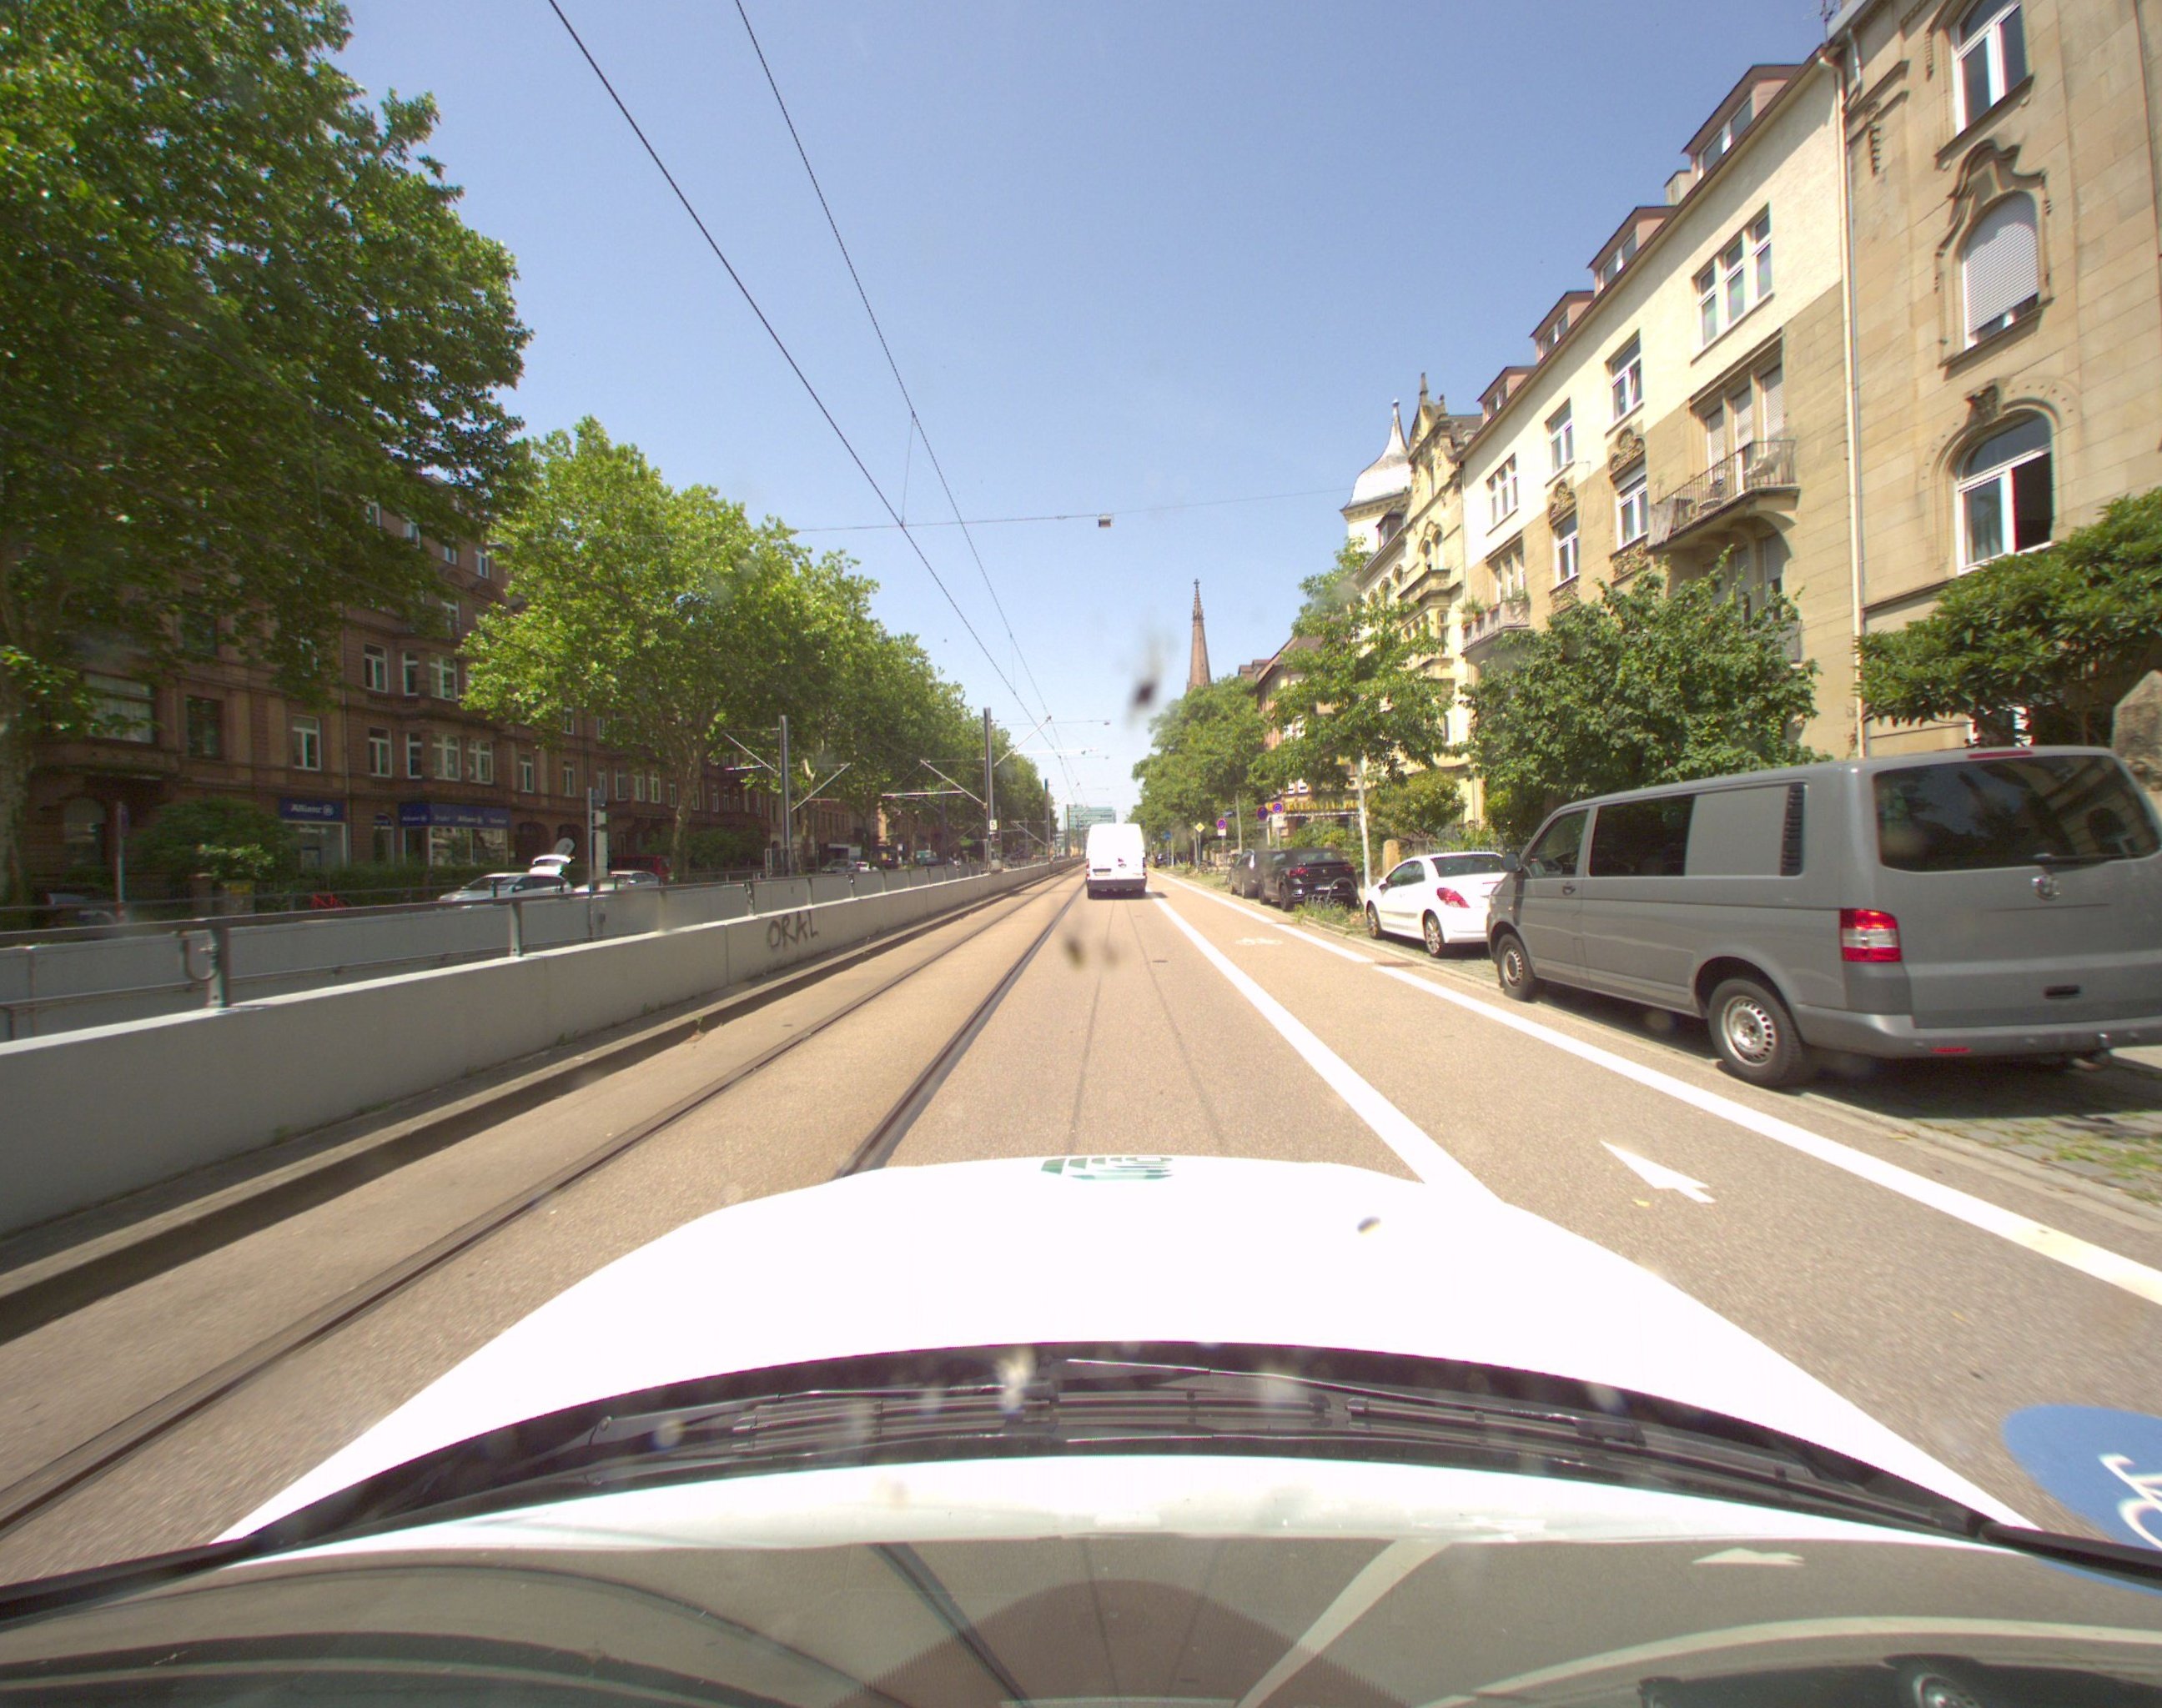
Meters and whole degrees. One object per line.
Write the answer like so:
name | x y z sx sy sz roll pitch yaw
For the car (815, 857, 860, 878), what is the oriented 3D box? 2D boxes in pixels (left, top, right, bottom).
car | -17.419 0.959 58.494 1.845 1.401 4.198 -1 0 1

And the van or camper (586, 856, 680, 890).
van or camper | -26.492 1.107 48.227 4.519 1.836 1.936 -2 0 7

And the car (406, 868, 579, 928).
car | -18.594 1.323 26.084 1.986 1.625 4.719 -1 0 1

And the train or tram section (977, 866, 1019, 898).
train or tram section | -7.343 2.427 72.914 2.720 2.508 8.517 -1 0 1

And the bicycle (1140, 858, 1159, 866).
bicycle | 8.088 0.943 96.429 1.548 0.826 4.016 -1 0 15

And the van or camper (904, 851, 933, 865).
van or camper | -25.022 0.585 125.289 3.975 2.013 1.999 -2 0 -1

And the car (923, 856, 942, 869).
car | -16.435 0.918 89.970 1.368 1.423 3.090 -2 0 3

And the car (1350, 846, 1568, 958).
car | 5.572 0.620 12.594 1.605 1.405 4.002 -2 0 2

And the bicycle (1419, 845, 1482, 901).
bicycle | 8.778 0.424 19.416 0.590 1.262 2.093 -1 0 2

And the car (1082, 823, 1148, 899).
car | 1.221 0.218 29.134 2.109 2.459 5.057 -1 0 2

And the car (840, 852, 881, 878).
car | -17.131 0.822 63.527 1.986 1.904 4.149 -1 0 1

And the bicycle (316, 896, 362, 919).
bicycle | -24.944 1.792 27.405 0.279 0.650 1.344 -2 0 0

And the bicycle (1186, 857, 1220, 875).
bicycle | 6.885 0.666 46.030 1.834 0.953 0.503 -2 0 3

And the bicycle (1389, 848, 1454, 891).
bicycle | 10.011 0.457 23.964 1.683 1.076 0.343 -6 0 1

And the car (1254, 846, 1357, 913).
car | 5.726 0.599 21.210 1.661 1.530 4.015 -2 0 2

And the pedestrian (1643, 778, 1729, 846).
pedestrian | 10.086 -0.681 13.600 0.861 1.070 0.762 -2 0 5

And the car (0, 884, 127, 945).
car | -27.366 1.569 20.969 3.473 1.425 1.651 -2 0 -3

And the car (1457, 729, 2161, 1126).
car | 5.053 0.356 6.560 1.872 1.947 4.839 -3 0 2

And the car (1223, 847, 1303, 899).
car | 5.867 0.571 26.738 1.723 1.536 4.406 -1 0 1

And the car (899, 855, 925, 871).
car | -17.012 0.887 82.014 1.586 1.448 4.002 -1 0 2

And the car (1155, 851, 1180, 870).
car | 8.053 0.549 75.892 2.147 1.670 4.005 -1 0 4

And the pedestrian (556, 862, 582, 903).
pedestrian | -18.437 1.014 29.332 0.735 1.426 0.509 -1 0 -39

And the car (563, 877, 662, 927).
car | -18.385 1.846 32.120 1.648 1.684 3.708 -2 0 1
